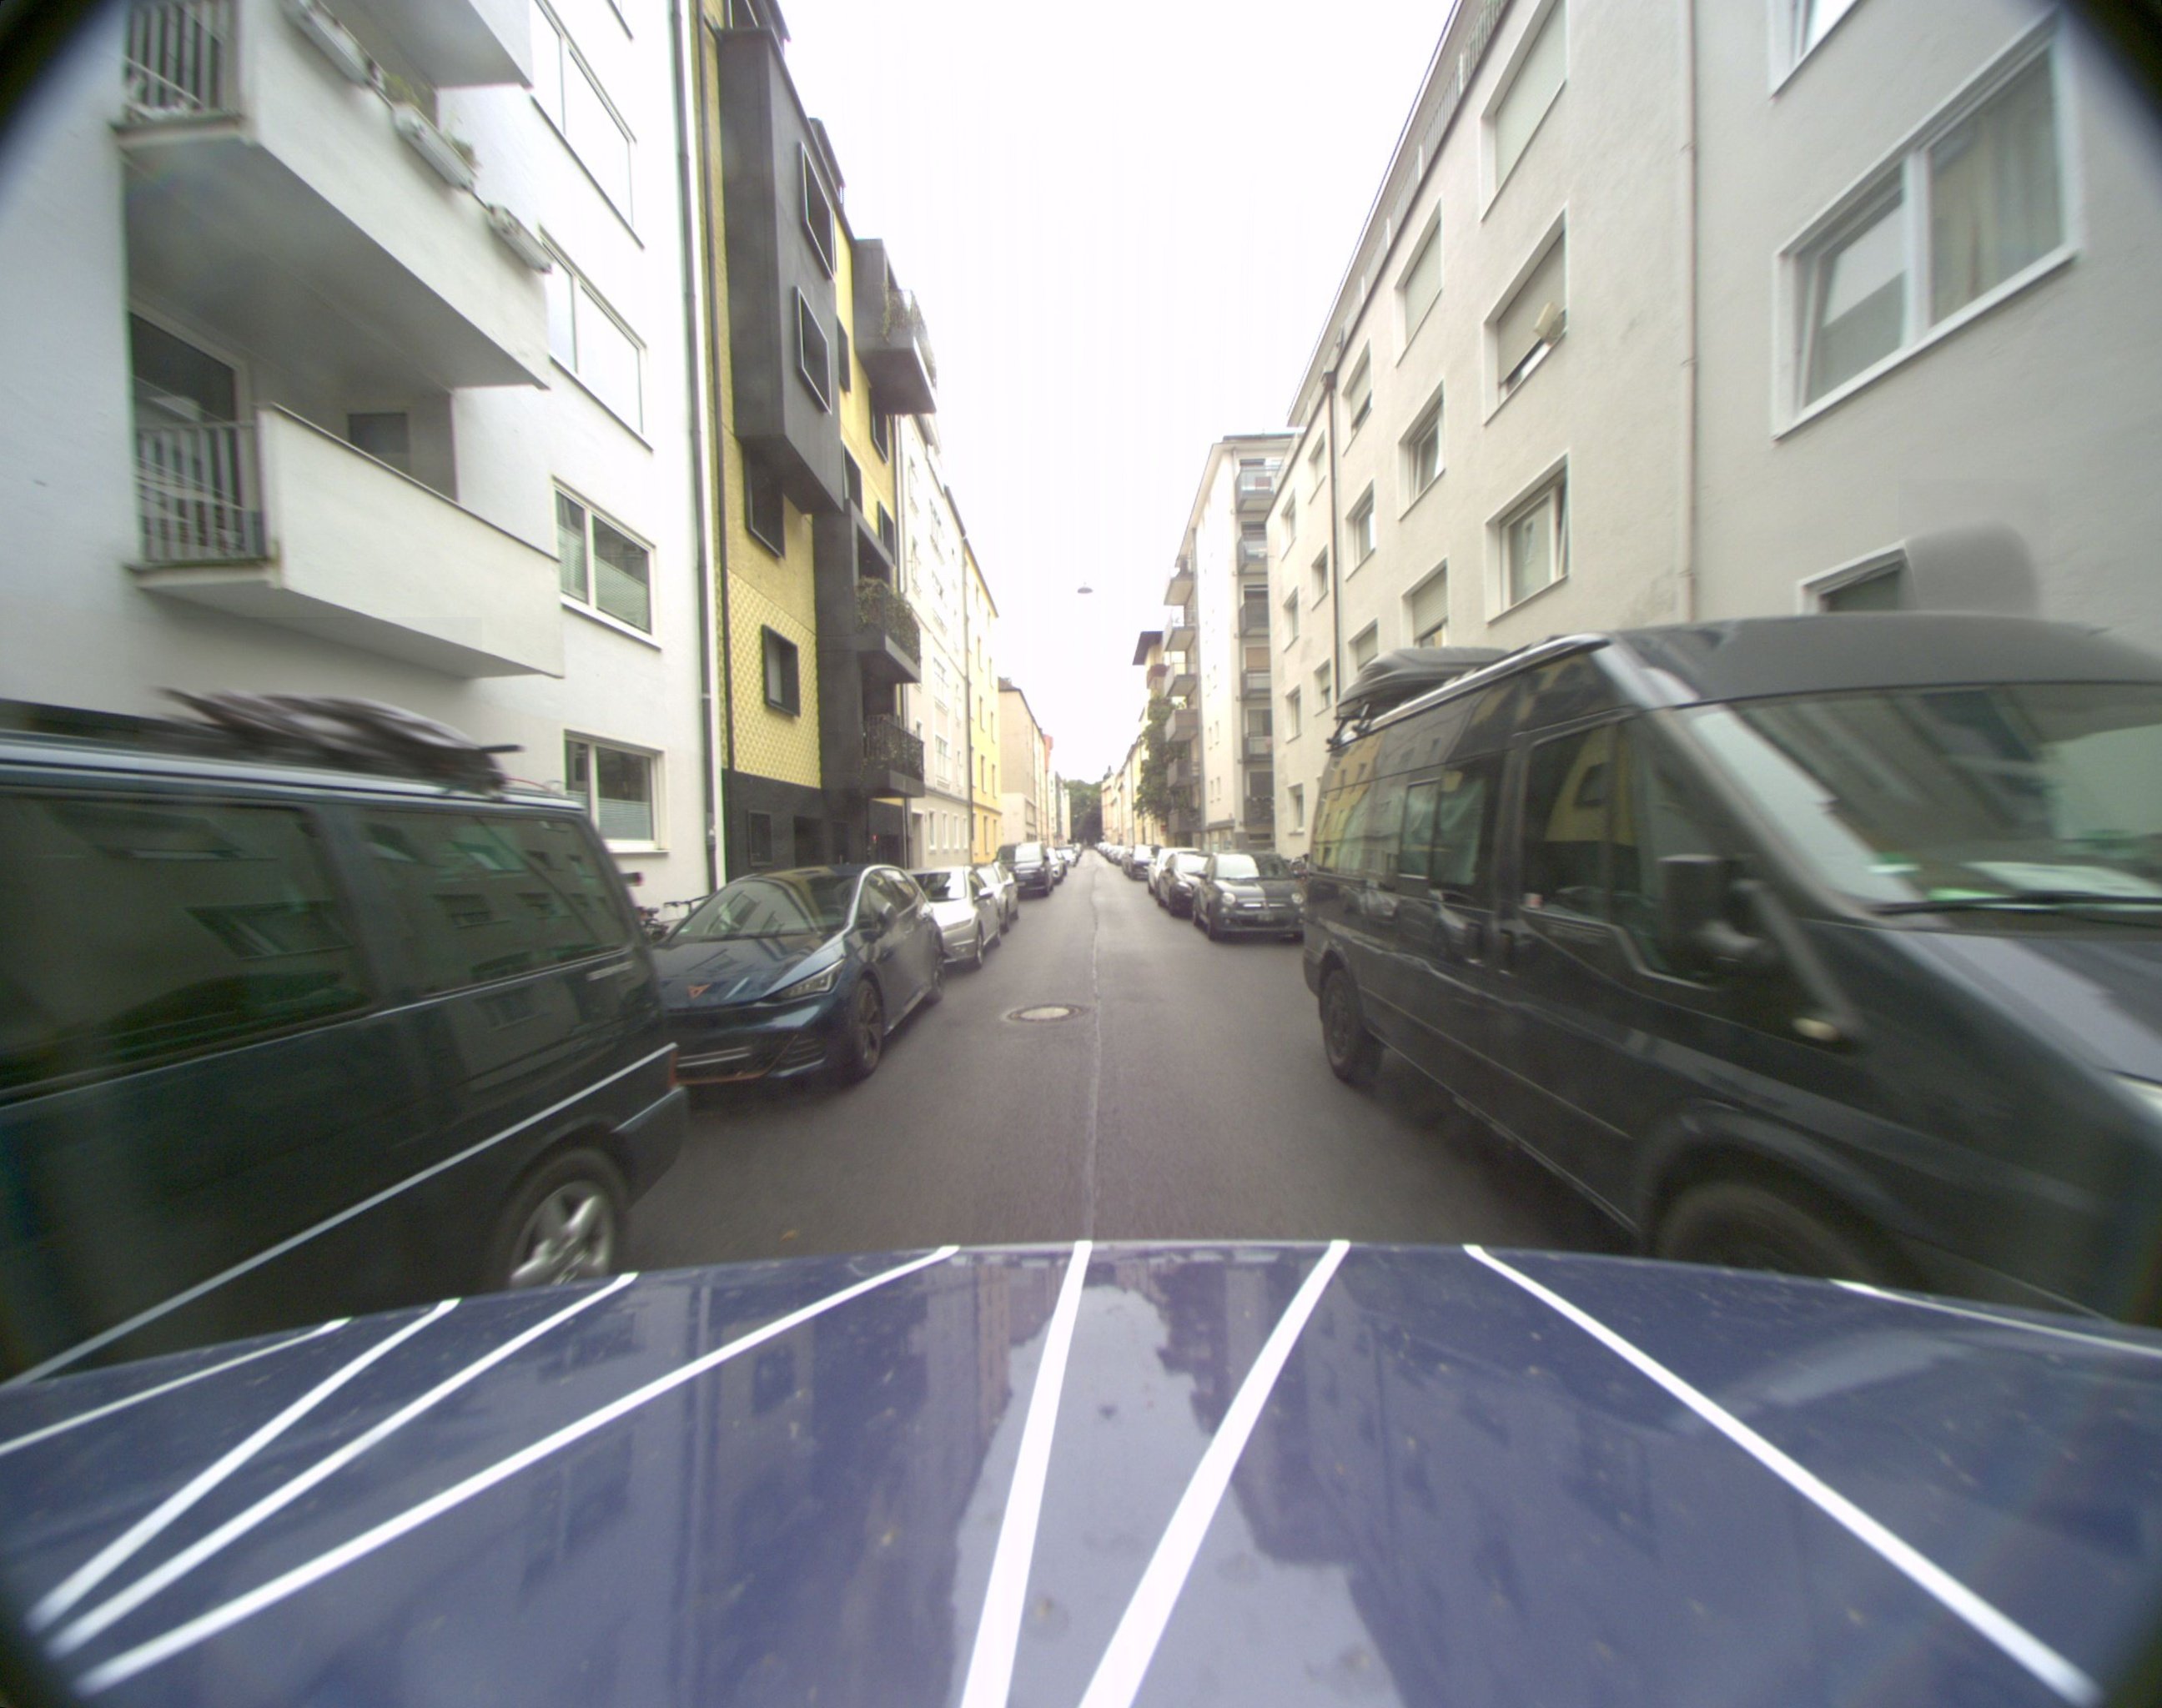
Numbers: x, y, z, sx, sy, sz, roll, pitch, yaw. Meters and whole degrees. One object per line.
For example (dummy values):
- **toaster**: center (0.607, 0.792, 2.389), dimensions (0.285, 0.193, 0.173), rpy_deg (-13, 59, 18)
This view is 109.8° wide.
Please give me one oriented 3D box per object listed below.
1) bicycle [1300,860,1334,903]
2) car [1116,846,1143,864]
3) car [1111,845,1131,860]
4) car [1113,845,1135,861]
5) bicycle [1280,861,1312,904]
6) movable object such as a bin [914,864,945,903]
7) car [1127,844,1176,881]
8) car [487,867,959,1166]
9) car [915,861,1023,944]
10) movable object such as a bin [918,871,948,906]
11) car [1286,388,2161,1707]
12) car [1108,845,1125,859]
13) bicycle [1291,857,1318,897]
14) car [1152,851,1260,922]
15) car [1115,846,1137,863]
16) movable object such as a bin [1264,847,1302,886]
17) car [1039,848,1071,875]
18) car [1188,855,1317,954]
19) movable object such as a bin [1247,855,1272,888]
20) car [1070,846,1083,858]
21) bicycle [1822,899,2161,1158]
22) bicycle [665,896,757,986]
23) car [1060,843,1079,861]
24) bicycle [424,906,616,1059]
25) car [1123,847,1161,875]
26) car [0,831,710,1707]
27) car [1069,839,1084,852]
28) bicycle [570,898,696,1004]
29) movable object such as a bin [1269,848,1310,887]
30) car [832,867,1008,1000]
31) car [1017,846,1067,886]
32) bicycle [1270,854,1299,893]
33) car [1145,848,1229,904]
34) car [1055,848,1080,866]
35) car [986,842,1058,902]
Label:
- **bicycle**: center (5.951, 0.677, 19.251), dimensions (0.399, 1.011, 1.574), rpy_deg (-1, 1, 1)
- **car**: center (3.919, 0.065, 61.646), dimensions (1.972, 1.369, 4.295), rpy_deg (-2, 1, 1)
- **car**: center (4.059, -0.175, 78.185), dimensions (1.896, 1.444, 4.295), rpy_deg (-2, 1, 1)
- **car**: center (4.045, -0.121, 72.607), dimensions (1.896, 1.444, 4.295), rpy_deg (-2, 1, 1)
- **bicycle**: center (5.491, 0.717, 19.438), dimensions (0.388, 1.011, 1.624), rpy_deg (-1, 1, 1)
- **movable object such as a bin**: center (-4.611, 0.887, 23.154), dimensions (0.797, 1.133, 0.573), rpy_deg (-2, 1, 0)
- **car**: center (3.304, 0.339, 36.409), dimensions (1.972, 1.598, 4.539), rpy_deg (-2, 1, 1)
- **car**: center (-2.466, 1.002, 6.772), dimensions (1.910, 1.545, 4.624), rpy_deg (-2, 1, 1)
- **car**: center (-2.306, 0.954, 16.690), dimensions (1.739, 1.421, 4.201), rpy_deg (-2, 1, 0)
- **movable object such as a bin**: center (-4.612, 1.072, 23.728), dimensions (0.797, 1.048, 0.546), rpy_deg (-2, 1, 0)
- **car**: center (2.545, 0.459, 3.235), dimensions (2.023, 2.266, 5.390), rpy_deg (0, 1, 2)
- **car**: center (4.207, -0.260, 90.276), dimensions (1.896, 1.444, 4.295), rpy_deg (-2, 1, 1)
- **bicycle**: center (6.108, 0.615, 20.824), dimensions (0.380, 1.011, 1.441), rpy_deg (-1, 1, 2)
- **car**: center (2.857, 0.675, 18.229), dimensions (1.805, 1.409, 4.225), rpy_deg (-2, 1, -1)
- **car**: center (3.942, 0.046, 67.176), dimensions (1.769, 1.369, 4.295), rpy_deg (-2, 1, 1)
- **movable object such as a bin**: center (7.277, 0.429, 27.428), dimensions (1.114, 1.346, 1.104), rpy_deg (-2, 1, 2)
- **car**: center (-1.522, 0.407, 45.470), dimensions (1.691, 1.496, 3.856), rpy_deg (-2, 1, 1)
- **car**: center (2.913, 0.778, 13.649), dimensions (1.615, 1.438, 3.743), rpy_deg (1, 1, 3)
- **movable object such as a bin**: center (6.168, 0.601, 26.258), dimensions (0.692, 1.070, 0.604), rpy_deg (-2, 2, -4)
- **car**: center (-0.634, -0.369, 111.516), dimensions (1.896, 1.621, 4.295), rpy_deg (-2, 1, 1)
- **bicycle**: center (5.402, 0.884, 4.396), dimensions (0.464, 1.091, 1.870), rpy_deg (-2, 1, 3)
- **bicycle**: center (-5.094, 1.165, 10.554), dimensions (0.478, 1.042, 1.521), rpy_deg (-2, 1, 1)
- **car**: center (-1.187, -0.248, 80.184), dimensions (1.896, 1.859, 4.295), rpy_deg (-2, 1, 1)
- **bicycle**: center (-5.172, 1.128, 7.142), dimensions (0.572, 1.144, 1.563), rpy_deg (-2, 1, 1)
- **car**: center (3.350, 0.346, 42.407), dimensions (1.818, 1.434, 4.295), rpy_deg (-2, 1, 1)
- **car**: center (-2.566, 0.890, 0.800), dimensions (1.879, 1.781, 4.781), rpy_deg (-2, 1, 1)
- **car**: center (-0.633, -1.149, 102.850), dimensions (1.896, 1.621, 4.295), rpy_deg (-2, 1, 1)
- **bicycle**: center (-5.117, 1.068, 8.786), dimensions (0.478, 0.997, 1.552), rpy_deg (-2, 1, 1)
- **movable object such as a bin**: center (7.208, 0.455, 26.313), dimensions (1.123, 1.256, 1.097), rpy_deg (-2, 1, 2)
- **car**: center (-2.261, 1.052, 11.856), dimensions (1.764, 1.423, 4.260), rpy_deg (-5, 1, -1)
- **car**: center (-1.743, 0.489, 35.145), dimensions (1.966, 1.665, 4.540), rpy_deg (-2, 1, 1)
- **bicycle**: center (6.310, 0.586, 23.628), dimensions (0.342, 1.132, 1.683), rpy_deg (-2, 1, -3)
- **car**: center (3.120, 0.586, 23.318), dimensions (1.917, 1.429, 4.808), rpy_deg (-2, 1, 1)
- **car**: center (-1.131, 0.220, 64.729), dimensions (1.972, 1.369, 4.295), rpy_deg (-2, 1, 1)
- **car**: center (-2.005, 0.561, 27.433), dimensions (1.987, 1.828, 5.183), rpy_deg (-4, 1, 1)
